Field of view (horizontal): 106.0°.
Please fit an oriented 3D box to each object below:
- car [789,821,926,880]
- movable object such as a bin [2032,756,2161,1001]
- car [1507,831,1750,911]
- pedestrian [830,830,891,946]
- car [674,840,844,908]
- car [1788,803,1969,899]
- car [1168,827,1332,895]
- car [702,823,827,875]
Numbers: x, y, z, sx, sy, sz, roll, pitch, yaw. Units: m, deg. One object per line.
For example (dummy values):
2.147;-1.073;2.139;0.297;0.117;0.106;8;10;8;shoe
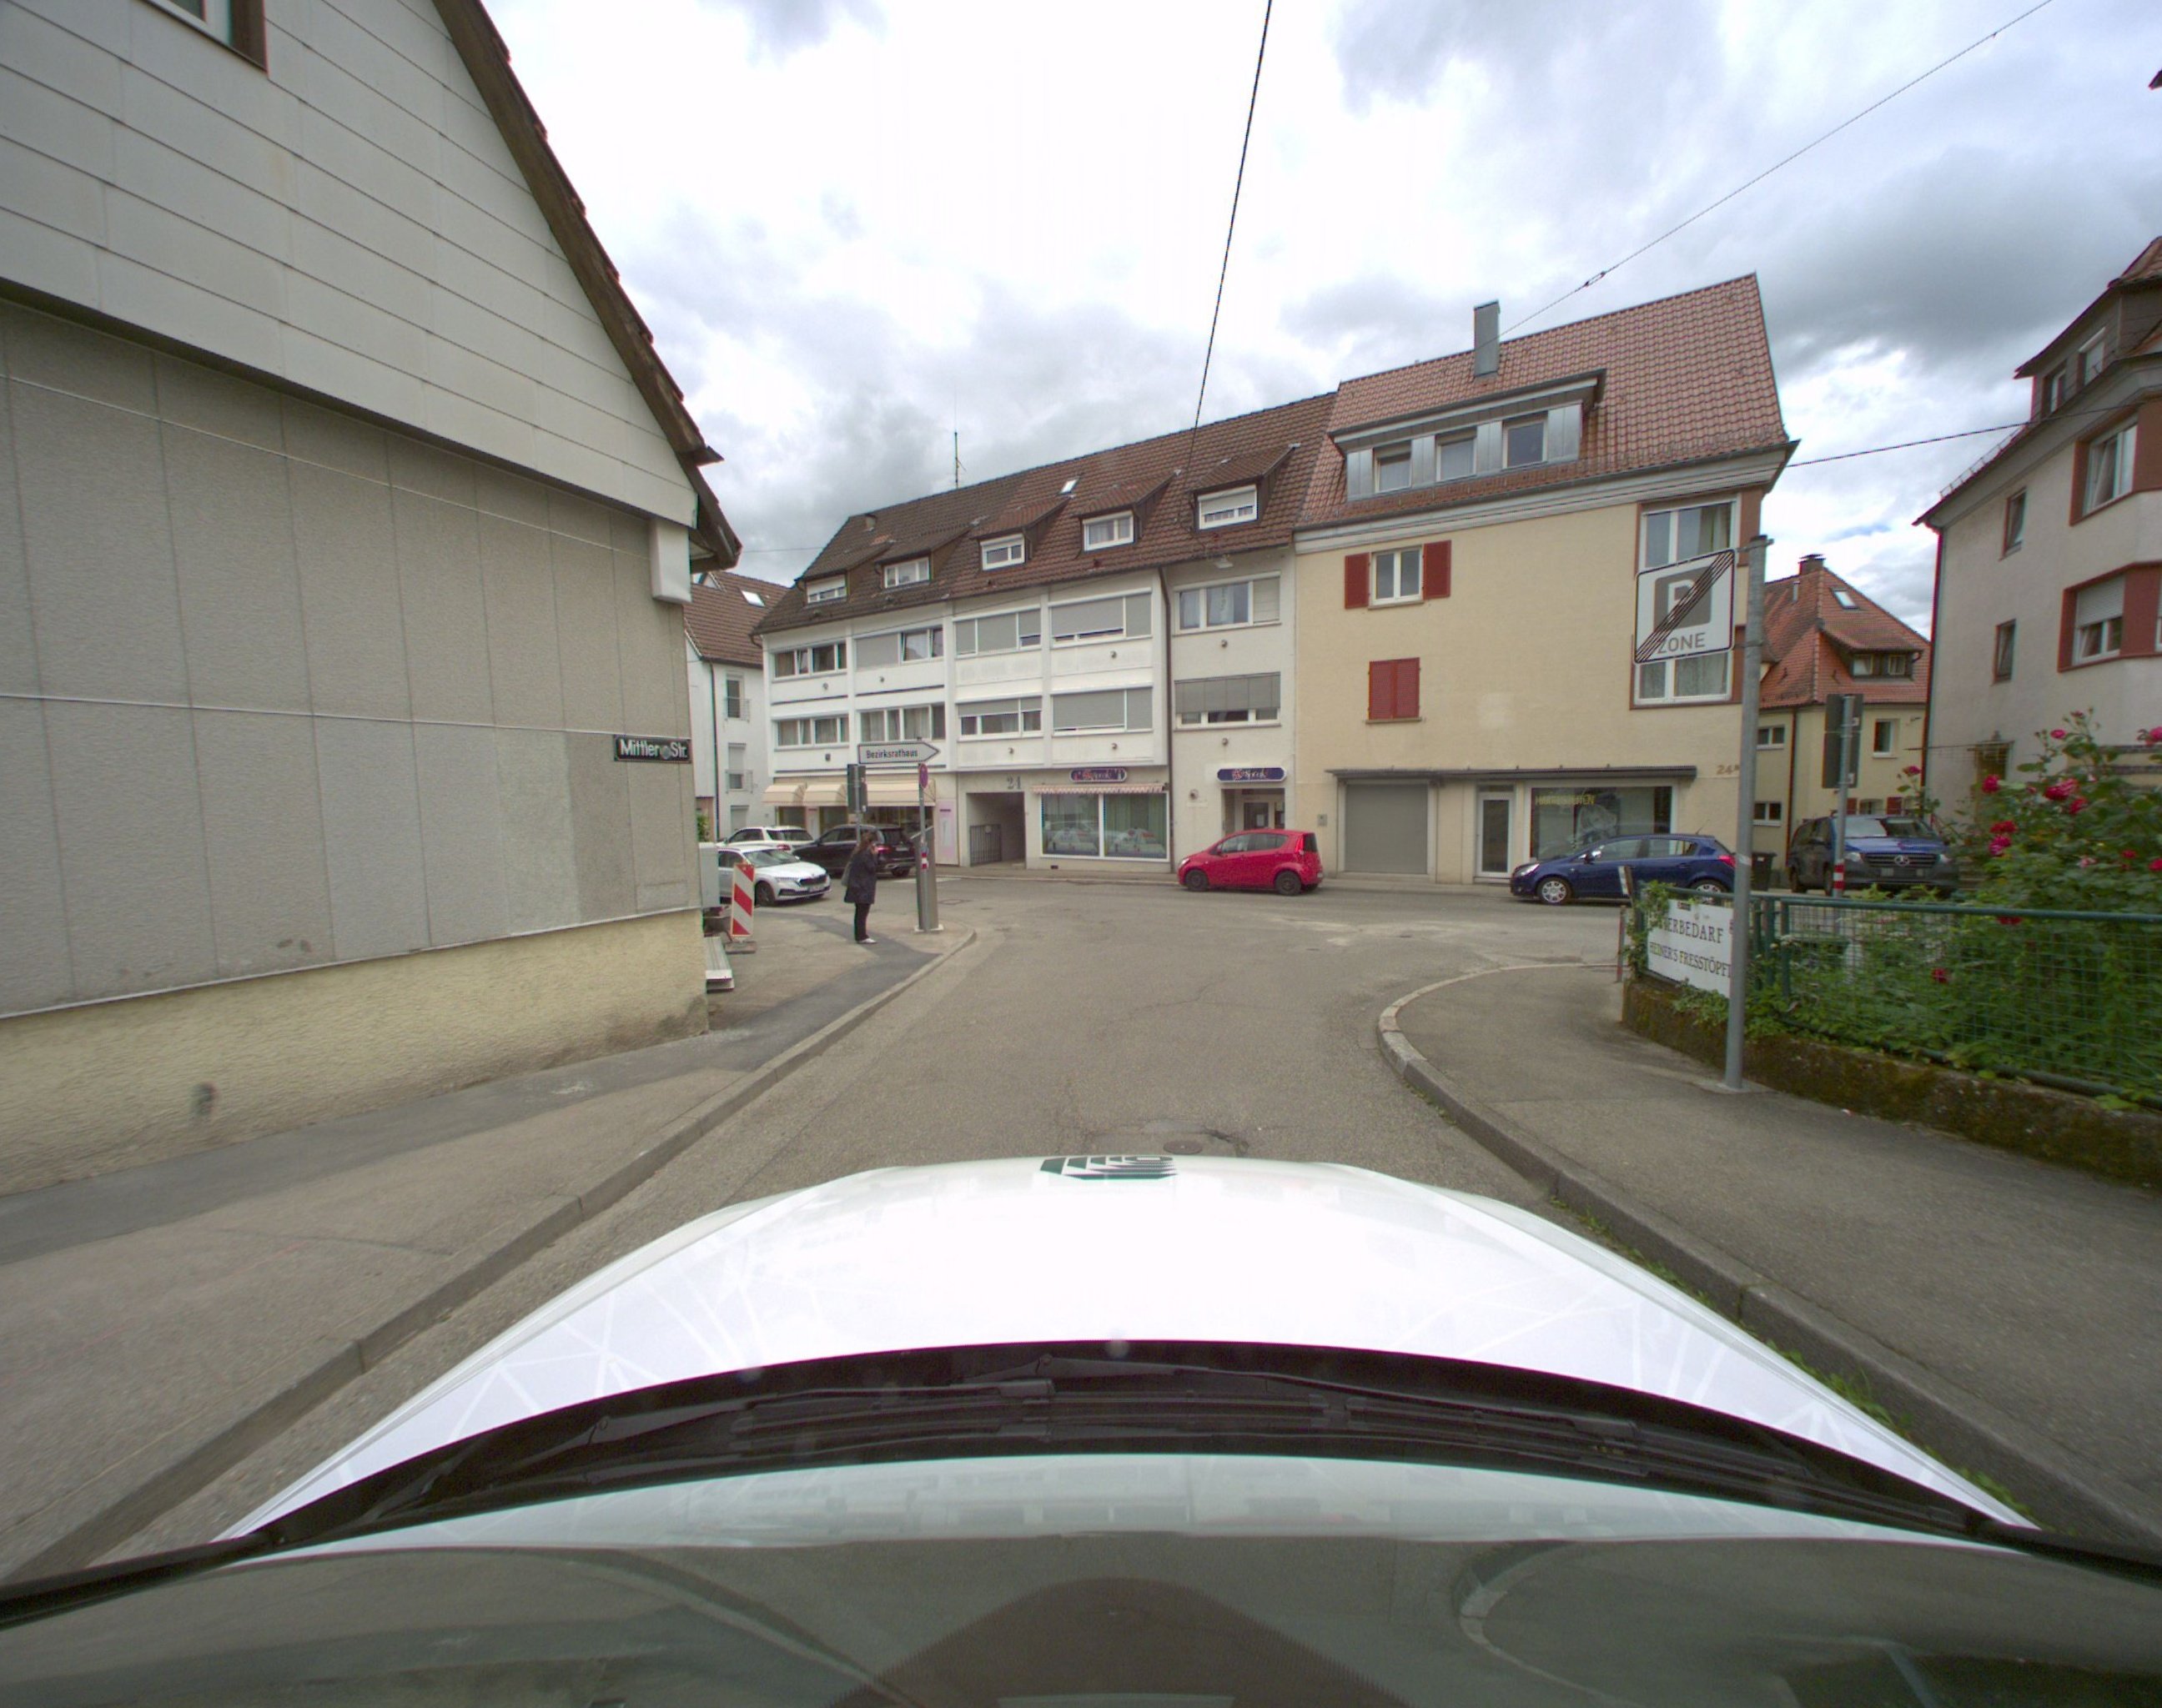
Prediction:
-7.508;-0.152;27.277;4.313;1.779;1.960;0;3;31;car
13.239;0.217;8.069;4.615;2.499;1.583;1;6;29;movable object such as a bin
10.866;0.256;16.432;3.870;1.450;1.708;1;2;32;car
-3.306;0.490;12.238;0.642;1.684;0.606;0;2;14;pedestrian
-8.519;0.456;21.493;4.241;1.460;1.811;1;6;29;car
17.707;-0.101;18.376;1.928;1.866;4.933;1;1;33;car
4.220;0.115;20.454;3.648;1.556;1.708;1;3;33;car
-11.680;-0.257;29.986;4.321;1.711;1.953;2;5;30;car
